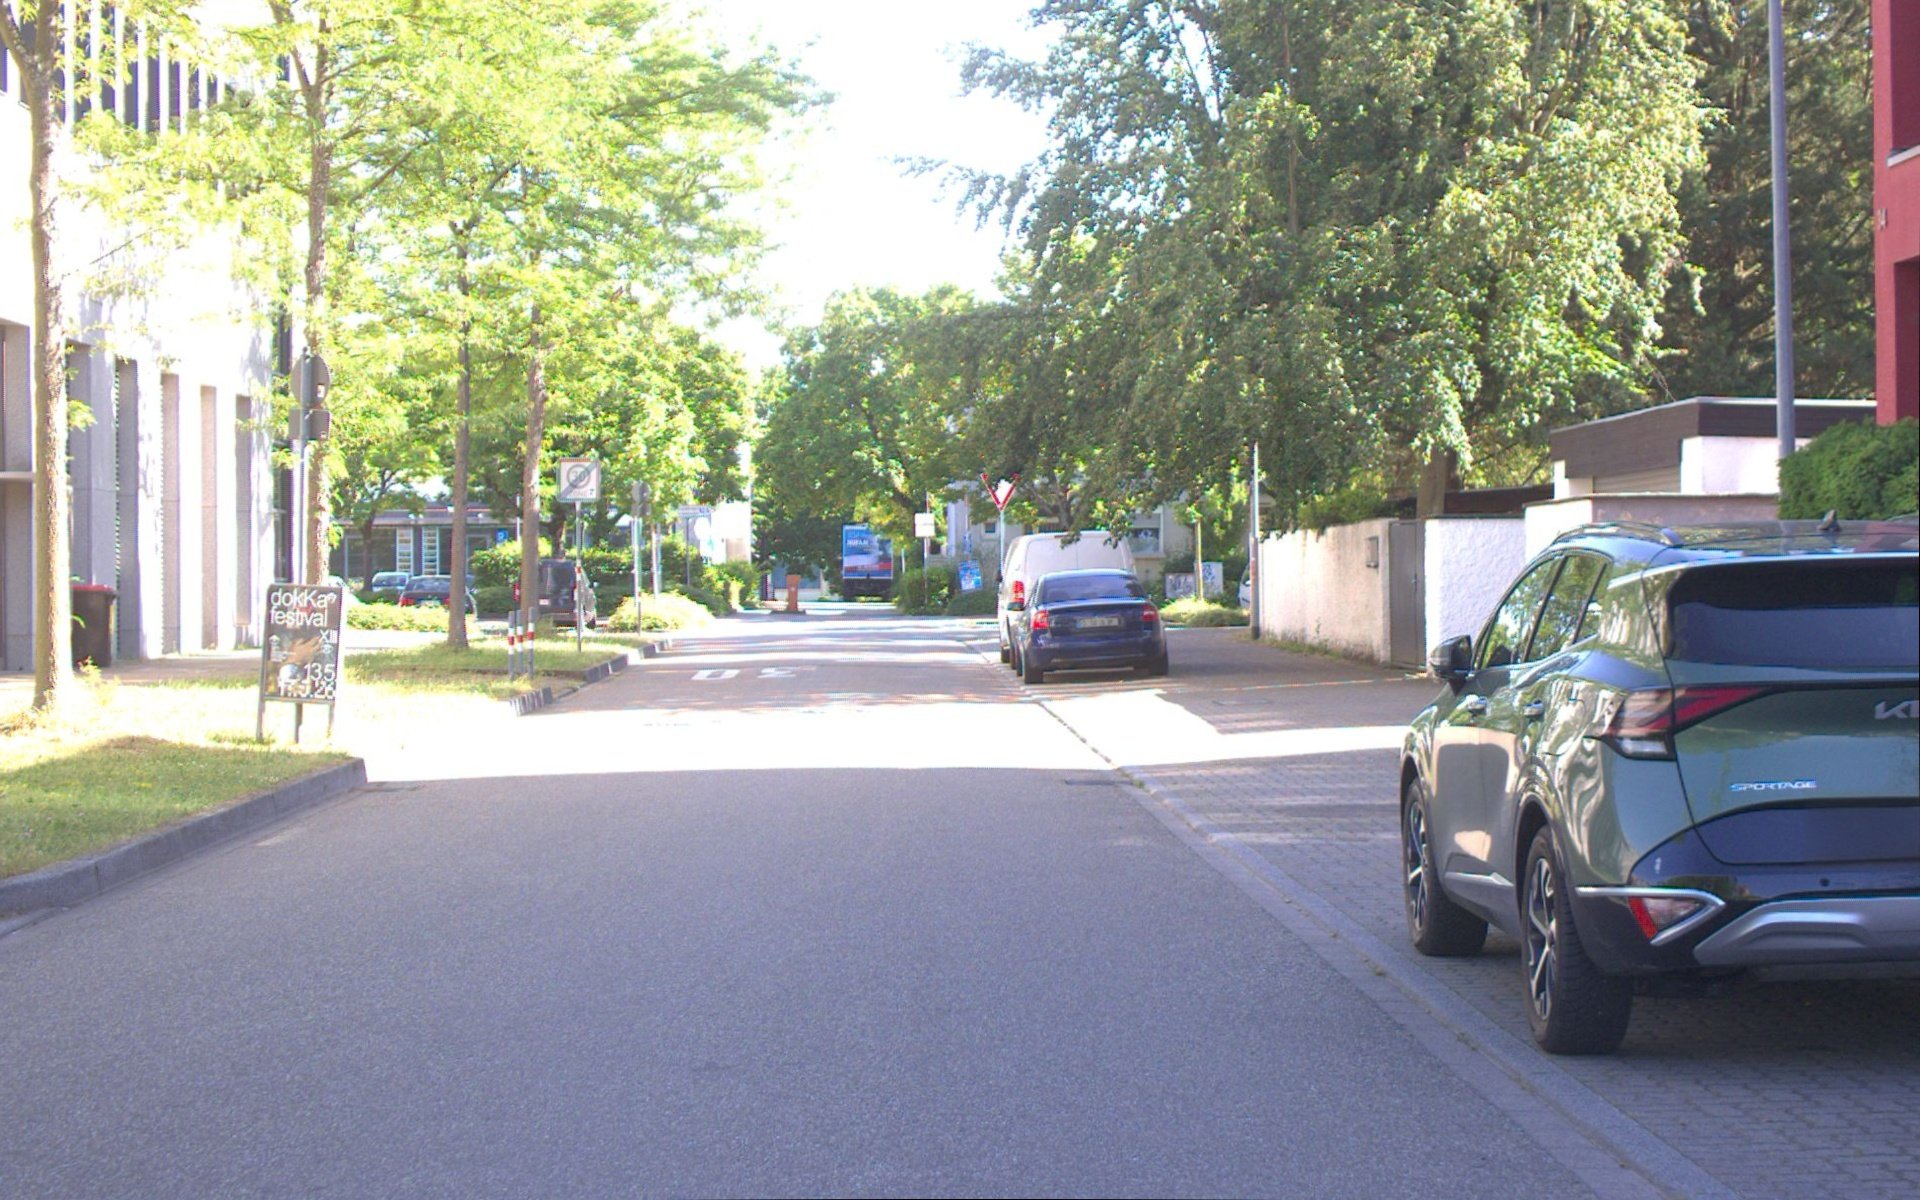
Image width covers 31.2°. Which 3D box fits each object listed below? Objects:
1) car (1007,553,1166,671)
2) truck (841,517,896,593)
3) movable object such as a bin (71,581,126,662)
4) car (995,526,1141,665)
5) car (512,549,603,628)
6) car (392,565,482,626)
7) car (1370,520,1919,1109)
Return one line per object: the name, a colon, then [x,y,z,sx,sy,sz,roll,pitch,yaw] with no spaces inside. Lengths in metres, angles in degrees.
car: [1.580,0.132,44.403,1.825,1.418,4.283,-1,1,-1]
truck: [-4.765,-2.369,181.139,2.760,3.856,9.330,1,1,-1]
movable object such as a bin: [-11.117,0.274,44.369,0.593,1.036,0.543,1,0,-3]
car: [1.529,-0.094,50.613,1.898,1.907,5.148,-1,1,-1]
car: [-10.090,-0.313,86.435,1.874,1.840,4.169,-1,2,-1]
car: [-13.083,-0.127,86.226,1.823,1.401,4.169,-1,2,-3]
car: [2.652,0.568,11.774,1.898,1.624,4.372,-1,1,-1]
